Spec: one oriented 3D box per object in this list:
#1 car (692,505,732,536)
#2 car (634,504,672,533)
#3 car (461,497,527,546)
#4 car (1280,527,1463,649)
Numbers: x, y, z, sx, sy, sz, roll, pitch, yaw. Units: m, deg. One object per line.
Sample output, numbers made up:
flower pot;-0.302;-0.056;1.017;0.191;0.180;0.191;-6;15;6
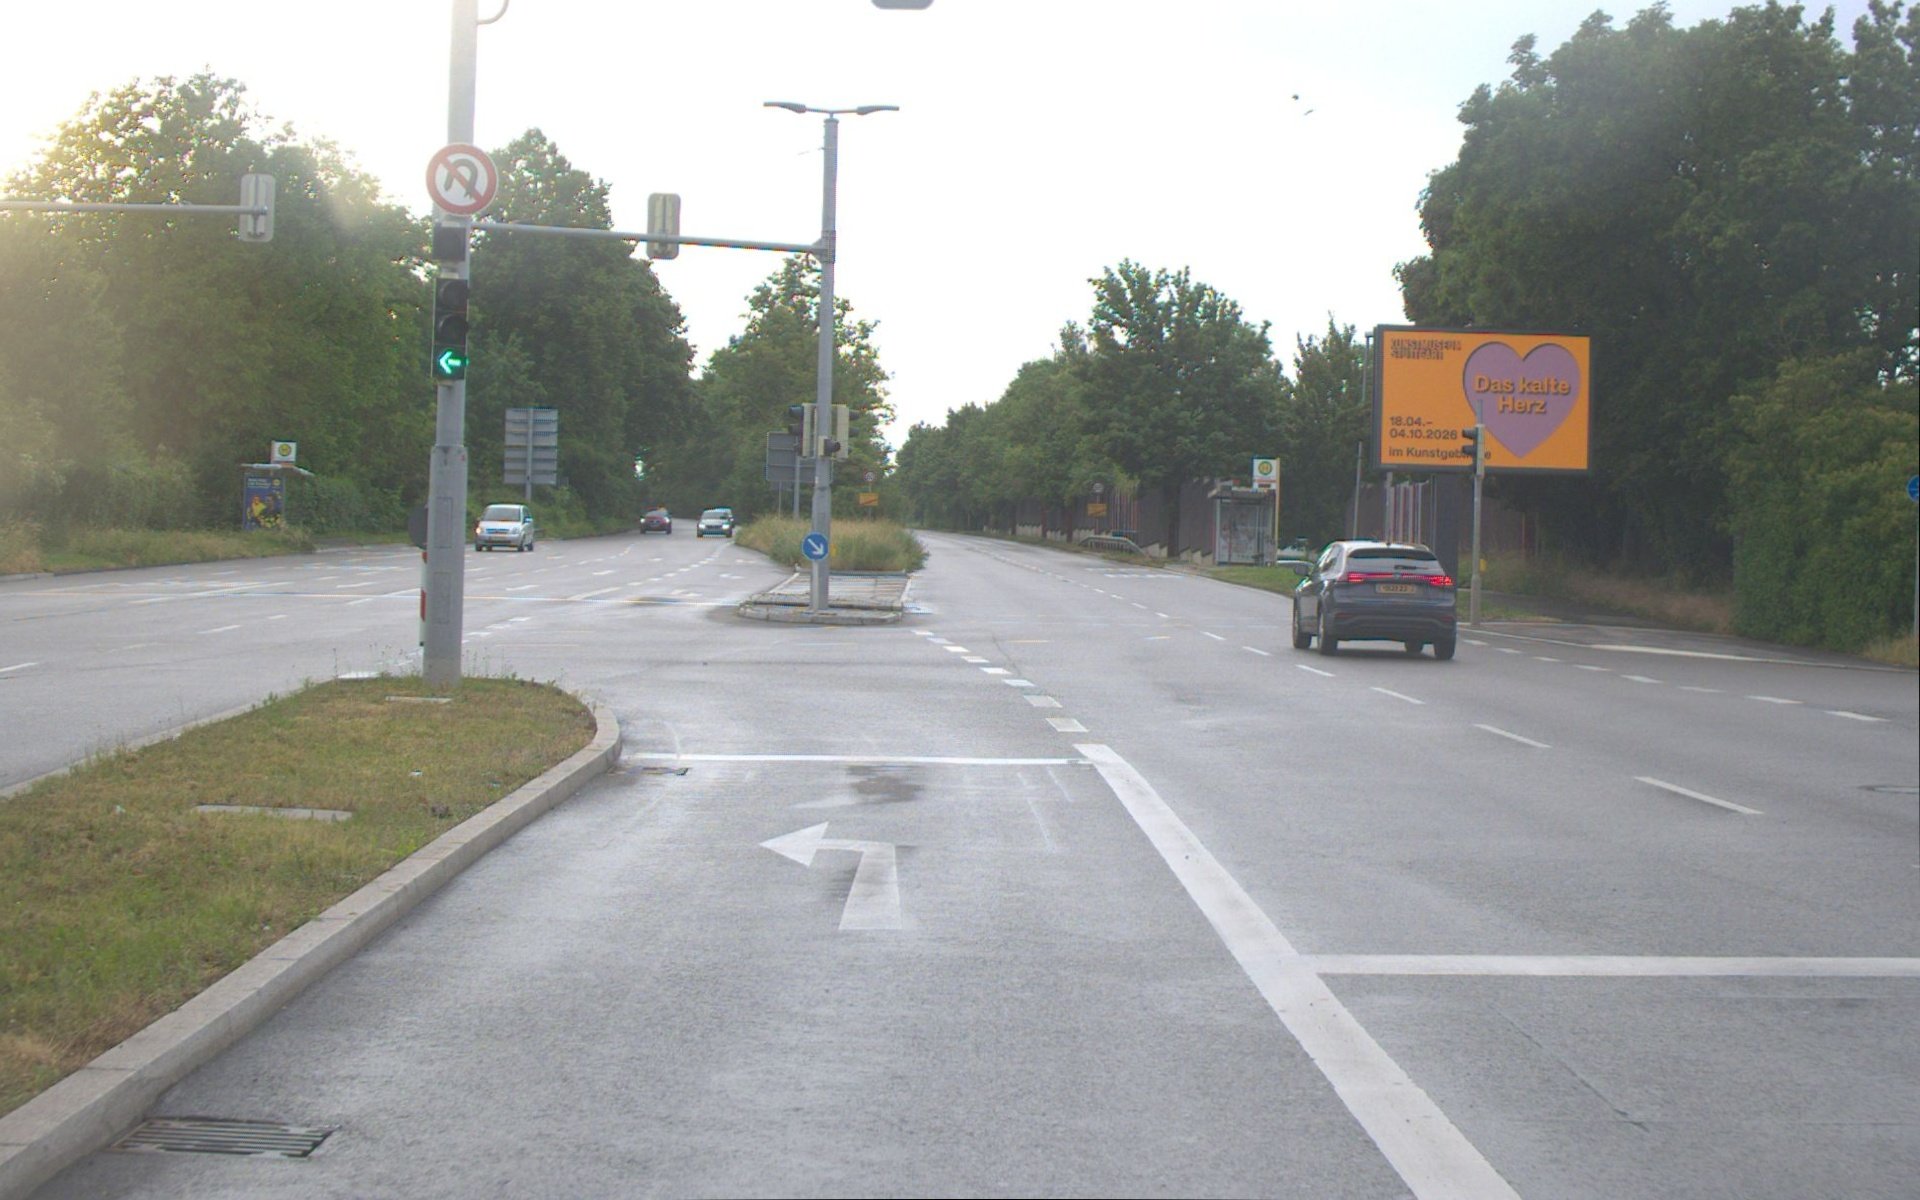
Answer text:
car;-13.267;-4.254;183.854;1.893;1.529;4.489;2;1;-2
car;-17.845;-4.767;200.027;1.893;1.590;4.489;2;1;-2
car;-16.277;-2.748;120.297;1.768;1.590;4.489;2;1;-2
car;5.348;-0.194;45.127;1.744;1.465;4.166;2;1;-2
